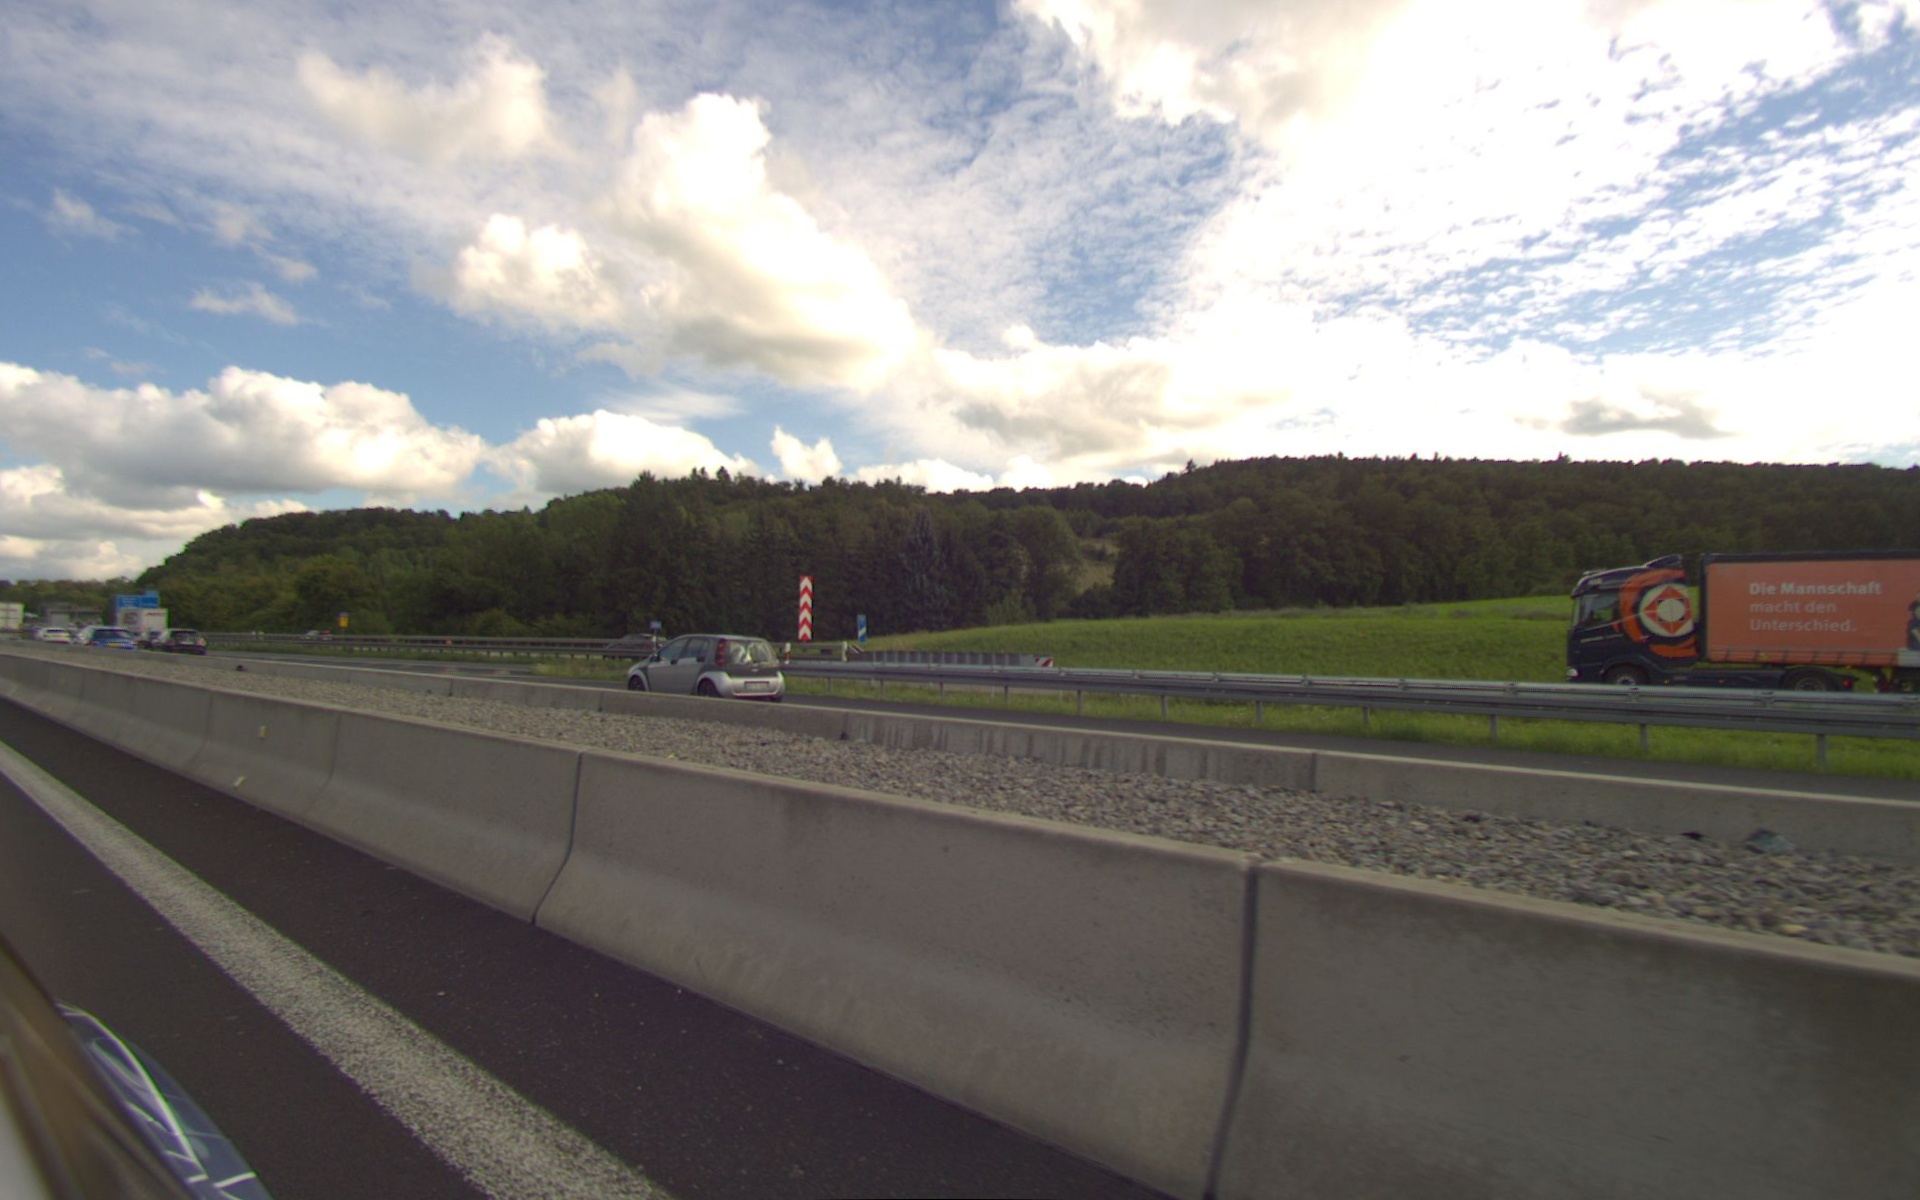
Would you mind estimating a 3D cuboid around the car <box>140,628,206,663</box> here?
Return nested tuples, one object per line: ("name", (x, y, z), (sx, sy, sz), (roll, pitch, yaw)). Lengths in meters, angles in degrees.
("car", (-39.164, 2.237, 50.307), (4.300, 1.630, 1.782), (-1, -3, 42))

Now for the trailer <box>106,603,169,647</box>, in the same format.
("trailer", (-103.661, 3.143, 127.384), (14.704, 5.200, 3.077), (-1, -3, 39))

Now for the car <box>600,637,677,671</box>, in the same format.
("car", (-16.555, 2.778, 52.052), (4.300, 1.630, 1.782), (-1, -3, 42))

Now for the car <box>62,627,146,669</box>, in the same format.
("car", (-35.860, 1.973, 42.344), (5.417, 1.630, 1.907), (-1, -3, 42))

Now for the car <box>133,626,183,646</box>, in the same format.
("car", (-60.780, 2.739, 76.668), (4.998, 1.462, 1.973), (-1, -3, 40))

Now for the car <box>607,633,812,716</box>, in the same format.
("car", (-5.119, 1.426, 20.439), (4.179, 1.467, 1.972), (-1, -3, 42))

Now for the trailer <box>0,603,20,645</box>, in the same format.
("trailer", (-100.671, 2.511, 105.607), (13.278, 4.160, 2.462), (-1, -3, 42))

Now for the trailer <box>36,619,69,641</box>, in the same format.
("trailer", (-174.381, 5.738, 194.387), (13.382, 4.125, 3.118), (-1, -3, 42))

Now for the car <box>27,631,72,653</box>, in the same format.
("car", (-70.215, 3.220, 78.029), (5.000, 1.630, 1.972), (-1, -3, 42))

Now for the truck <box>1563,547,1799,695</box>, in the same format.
("truck", (19.869, 0.597, 28.140), (5.141, 3.790, 1.975), (-1, -3, 37))

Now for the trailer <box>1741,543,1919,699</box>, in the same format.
("trailer", (26.317, 0.505, 23.195), (13.224, 3.765, 1.975), (-1, -3, 38))

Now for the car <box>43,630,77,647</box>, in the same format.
("car", (-92.200, 3.900, 103.644), (5.000, 1.630, 1.972), (-1, -3, 42))

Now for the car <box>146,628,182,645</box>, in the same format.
("car", (-80.569, 3.706, 102.406), (4.707, 1.630, 1.972), (-1, -3, 42))

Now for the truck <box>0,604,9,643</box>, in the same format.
("truck", (-105.060, 2.558, 109.532), (5.297, 4.160, 2.462), (-1, -3, 42))
